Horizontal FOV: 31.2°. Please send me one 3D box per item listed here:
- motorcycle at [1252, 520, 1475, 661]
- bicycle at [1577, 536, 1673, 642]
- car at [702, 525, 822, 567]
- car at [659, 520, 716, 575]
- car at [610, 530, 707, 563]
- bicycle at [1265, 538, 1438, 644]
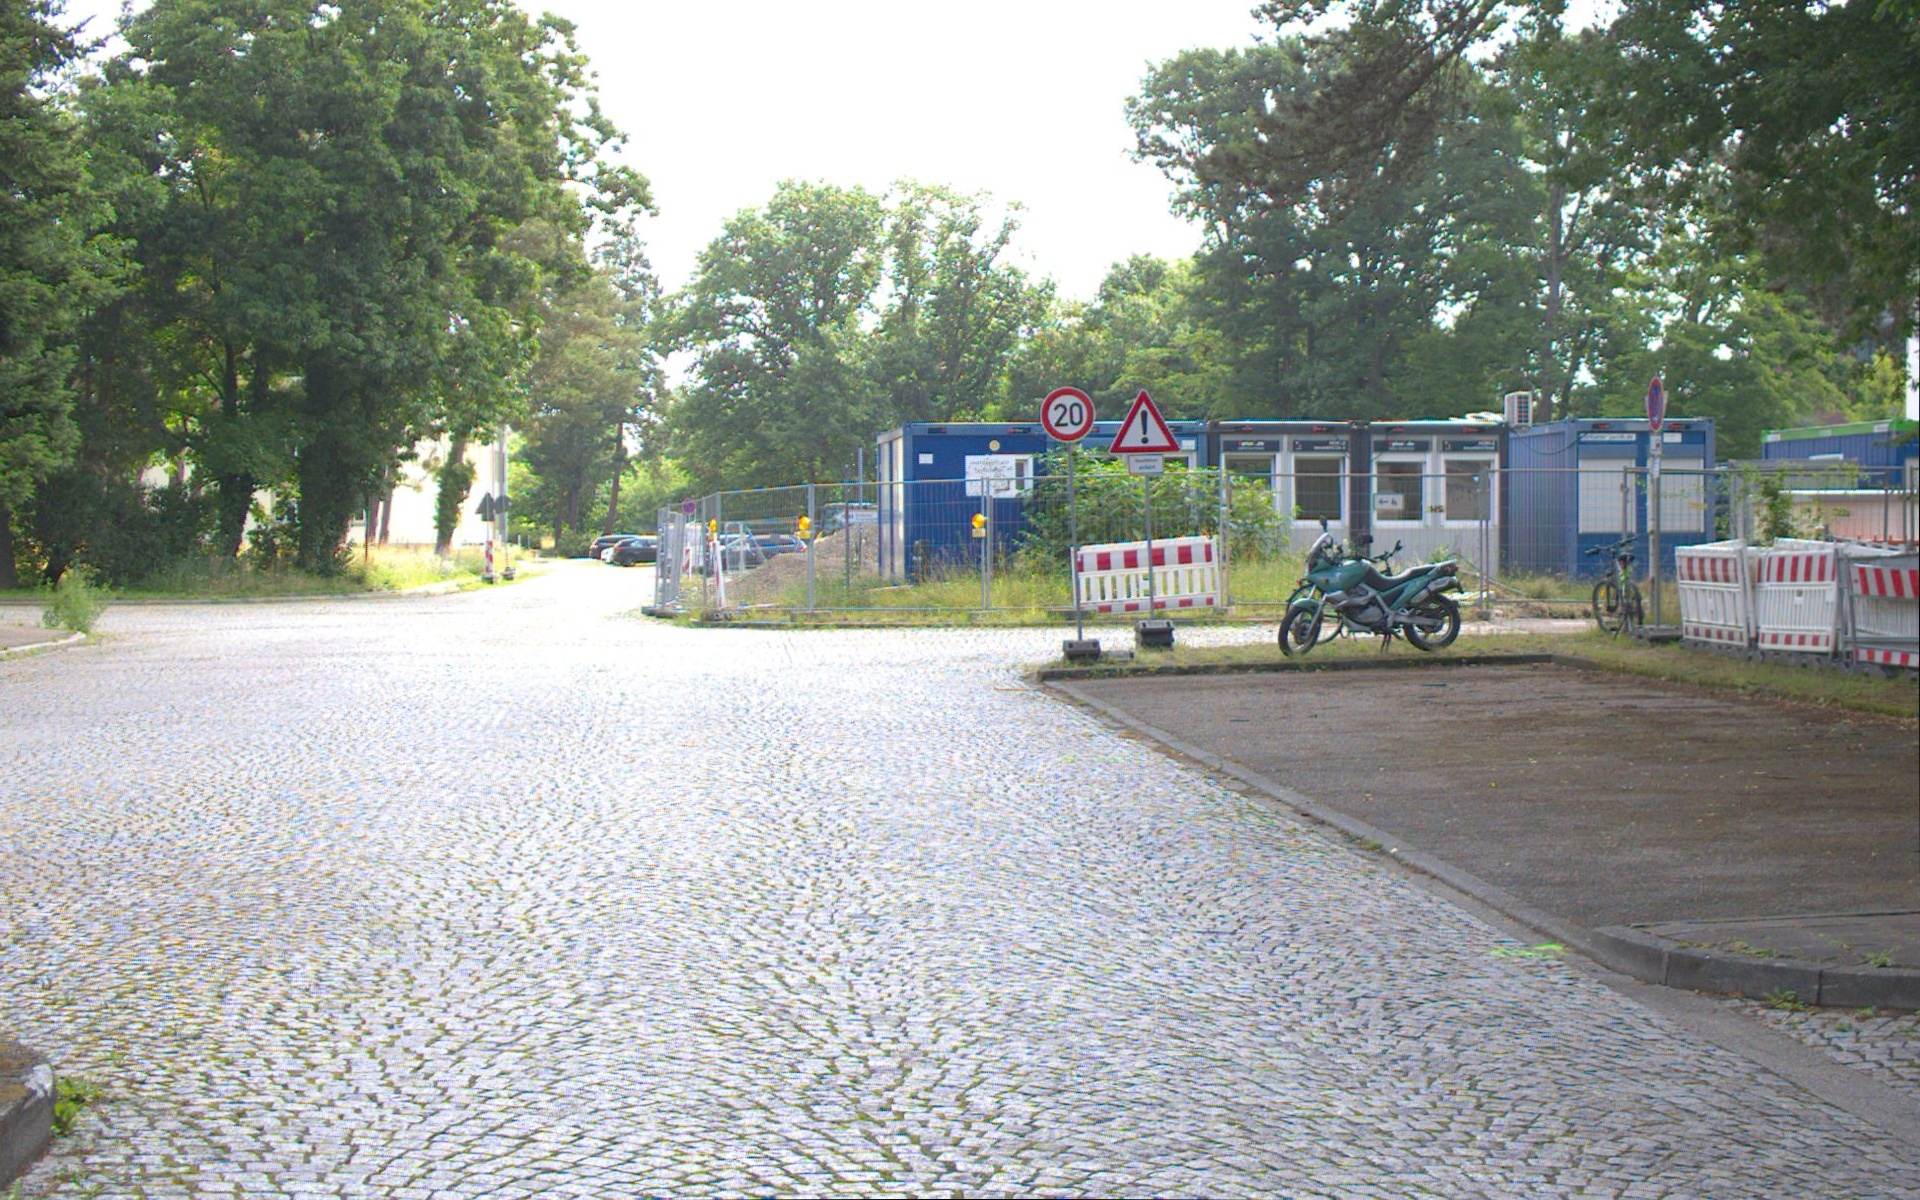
[{"bbox_3d":[4.386,-0.116,37.383,2.276,1.480,0.757,-1,1,-9],"label":"motorcycle"},{"bbox_3d":[7.543,-0.143,39.061,0.642,1.165,1.905,-1,1,-3],"label":"bicycle"},{"bbox_3d":[-7.681,-2.090,133.561,4.403,1.505,2.000,1,1,3],"label":"car"},{"bbox_3d":[-10.136,-1.955,127.651,1.993,2.007,4.092,0,1,-6],"label":"car"},{"bbox_3d":[-15.294,-2.695,174.339,4.778,1.635,2.001,0,1,-10],"label":"car"},{"bbox_3d":[4.524,-0.108,39.719,1.900,1.193,0.655,0,1,15],"label":"bicycle"}]
